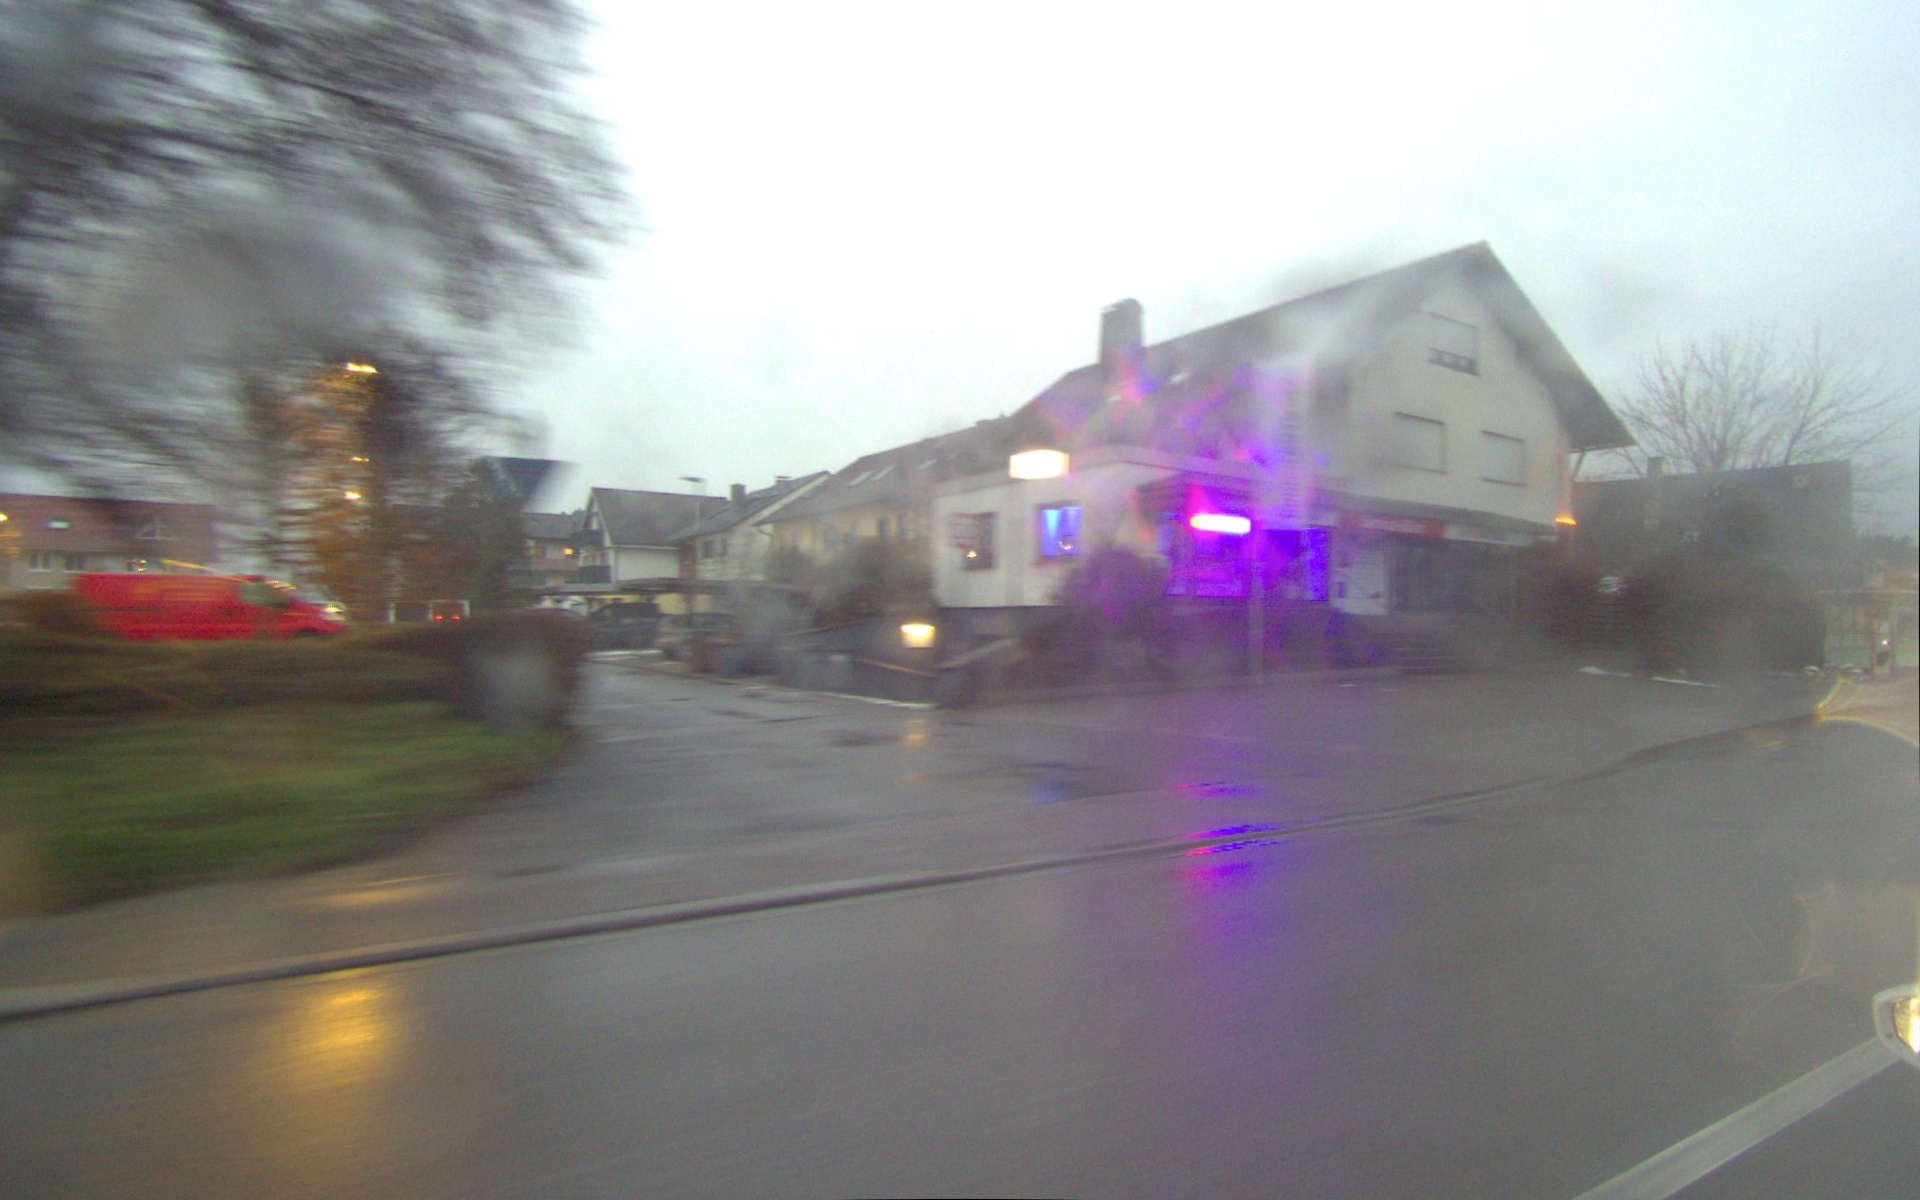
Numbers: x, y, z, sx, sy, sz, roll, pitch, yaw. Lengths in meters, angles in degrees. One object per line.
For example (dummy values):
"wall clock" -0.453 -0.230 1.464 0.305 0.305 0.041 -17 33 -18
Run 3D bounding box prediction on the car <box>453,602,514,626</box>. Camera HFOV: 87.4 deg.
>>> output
"car" -30.374 0.897 64.105 3.339 1.350 1.424 1 2 -34

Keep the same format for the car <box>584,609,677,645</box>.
"car" -13.533 1.121 41.295 3.339 1.350 1.424 1 2 -34

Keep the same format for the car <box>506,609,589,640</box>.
"car" -19.137 1.136 46.605 3.339 1.350 1.424 1 2 -34

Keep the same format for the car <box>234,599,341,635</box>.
"car" -34.783 0.854 52.081 4.466 1.662 1.921 0 3 -31

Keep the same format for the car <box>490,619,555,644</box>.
"car" -23.648 1.715 54.301 3.120 1.189 1.375 2 2 -27

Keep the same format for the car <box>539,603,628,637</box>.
"car" -16.197 0.870 43.234 3.339 1.350 1.424 1 2 -34

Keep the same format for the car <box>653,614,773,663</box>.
"car" -7.663 1.182 31.248 3.339 1.350 1.424 1 2 -34

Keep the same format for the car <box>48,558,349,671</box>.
"car" -16.963 0.239 22.835 5.211 2.310 2.267 0 2 -32
